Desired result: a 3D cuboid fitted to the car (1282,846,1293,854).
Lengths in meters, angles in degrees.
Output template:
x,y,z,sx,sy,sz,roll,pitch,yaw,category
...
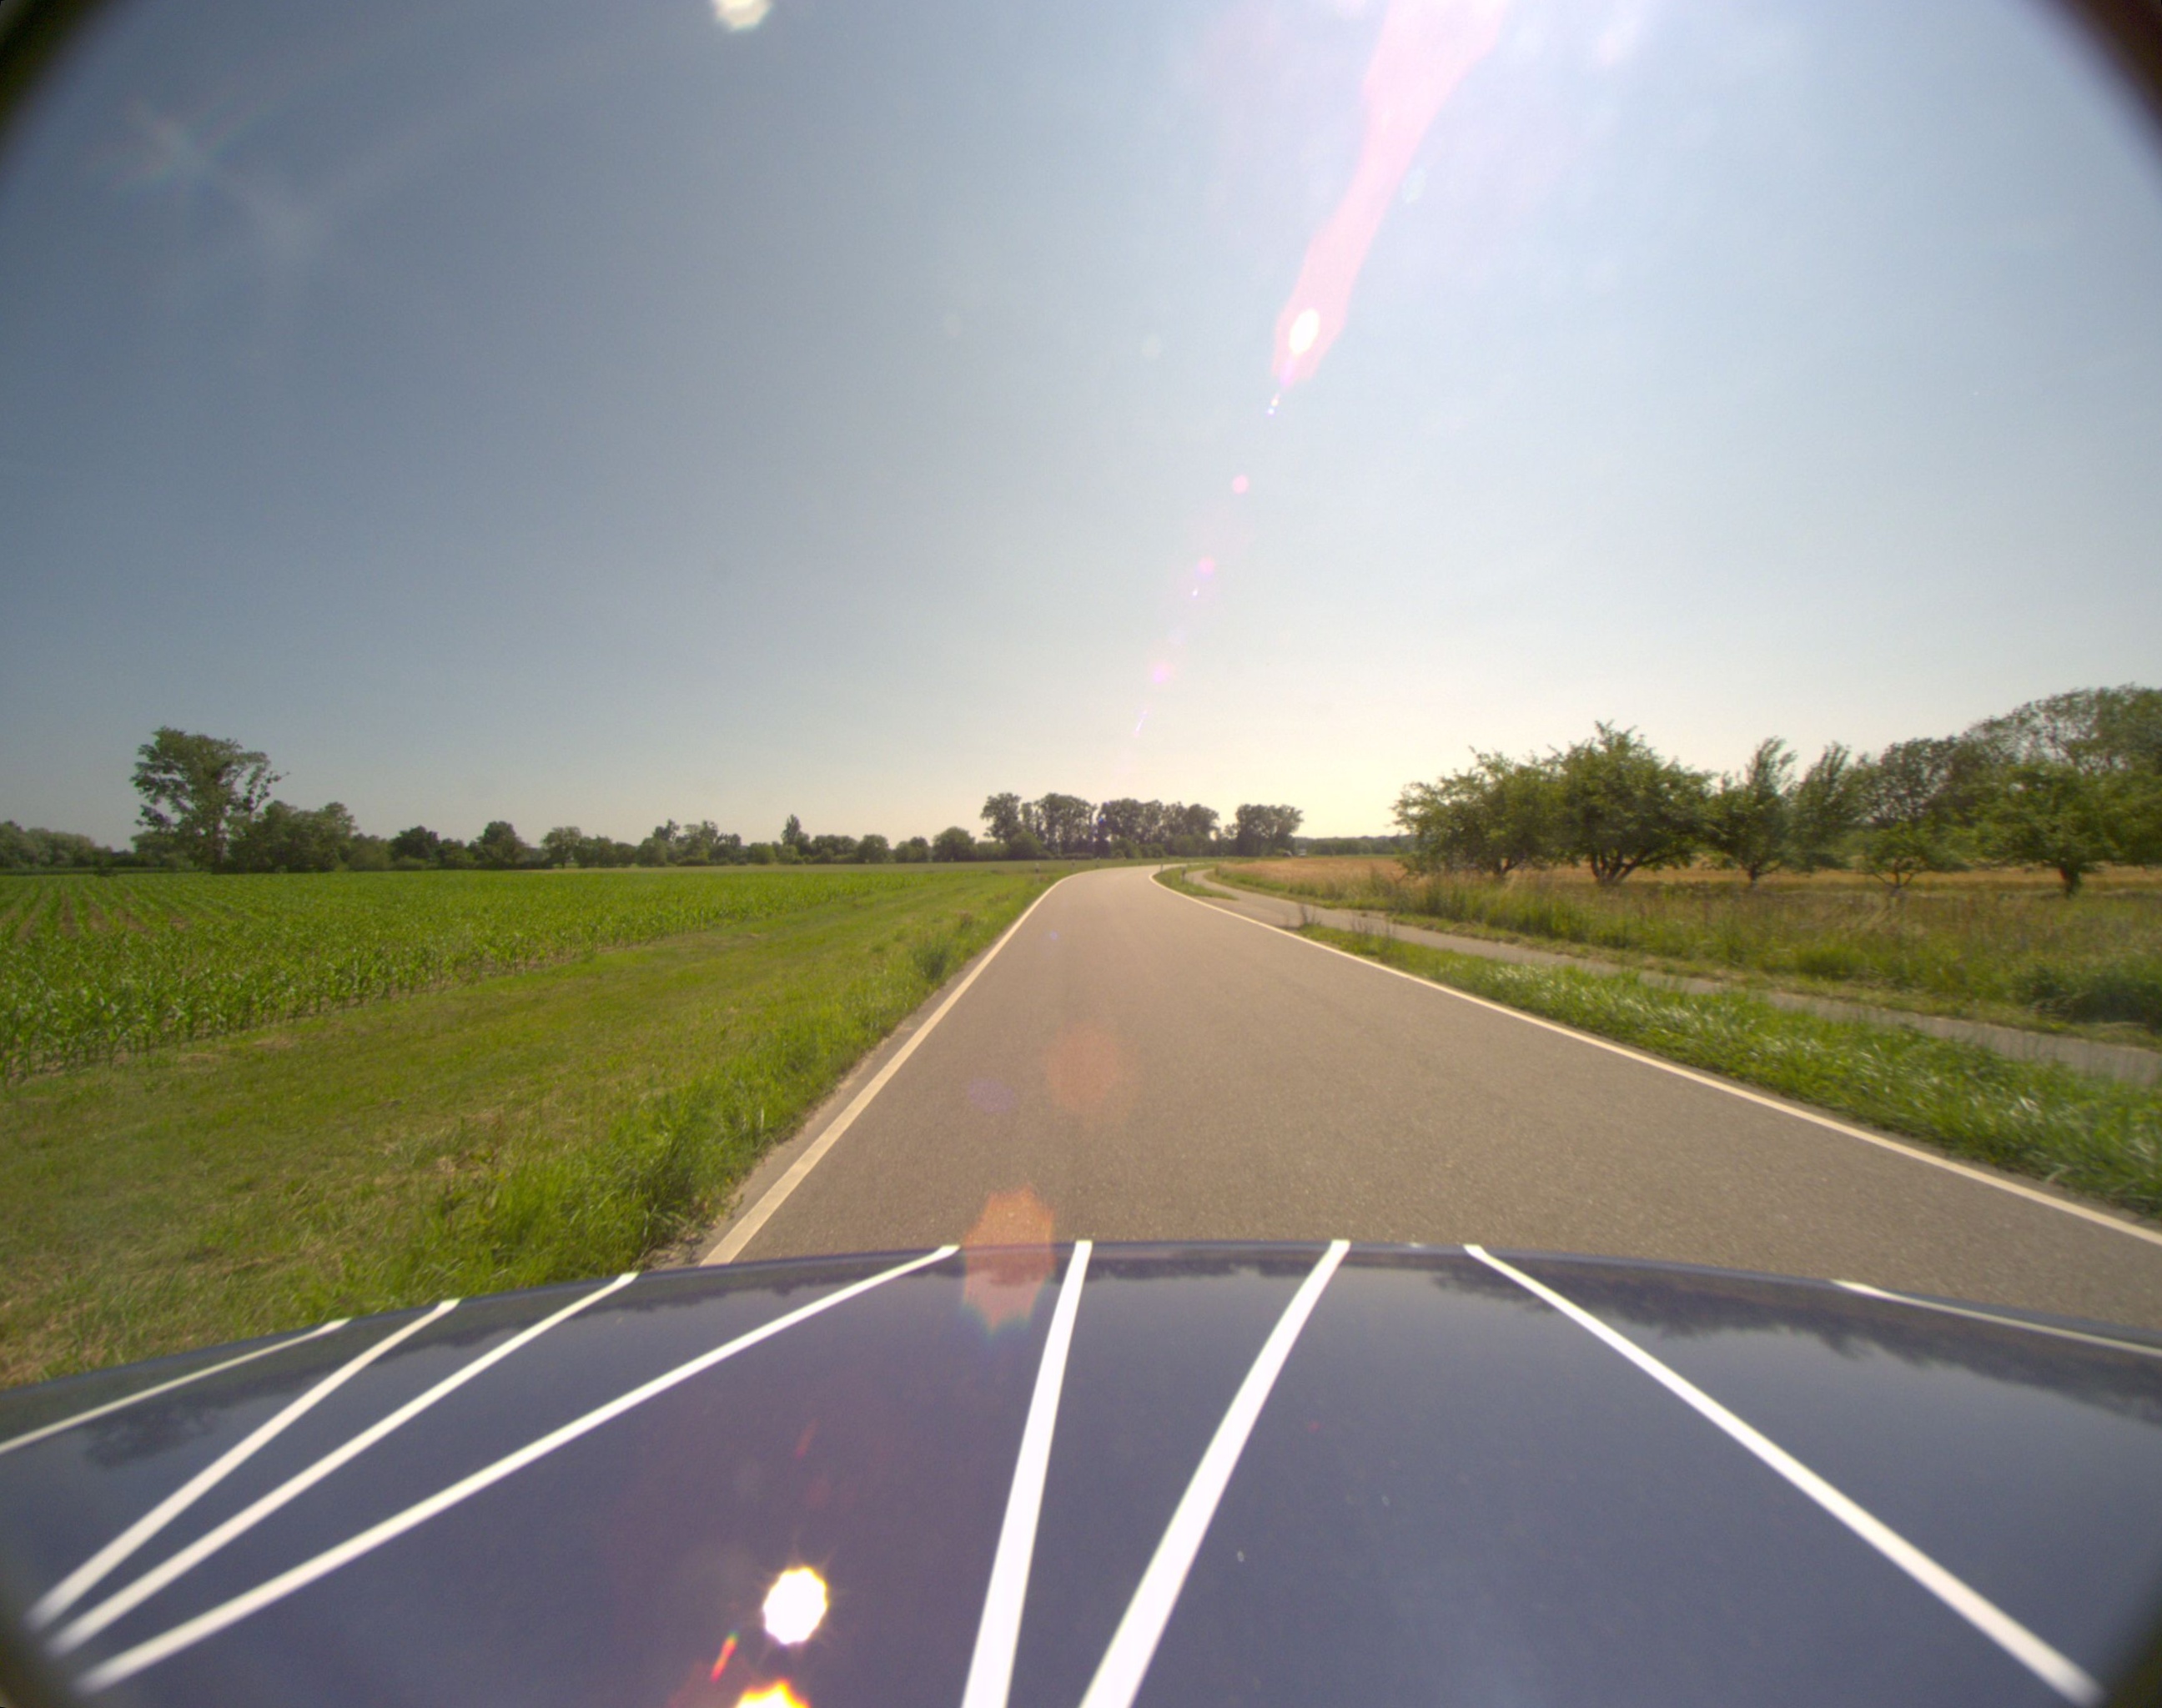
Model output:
x,y,z,sx,sy,sz,roll,pitch,yaw,category
49.123,-0.969,180.790,1.888,1.705,4.020,1,1,22,car
